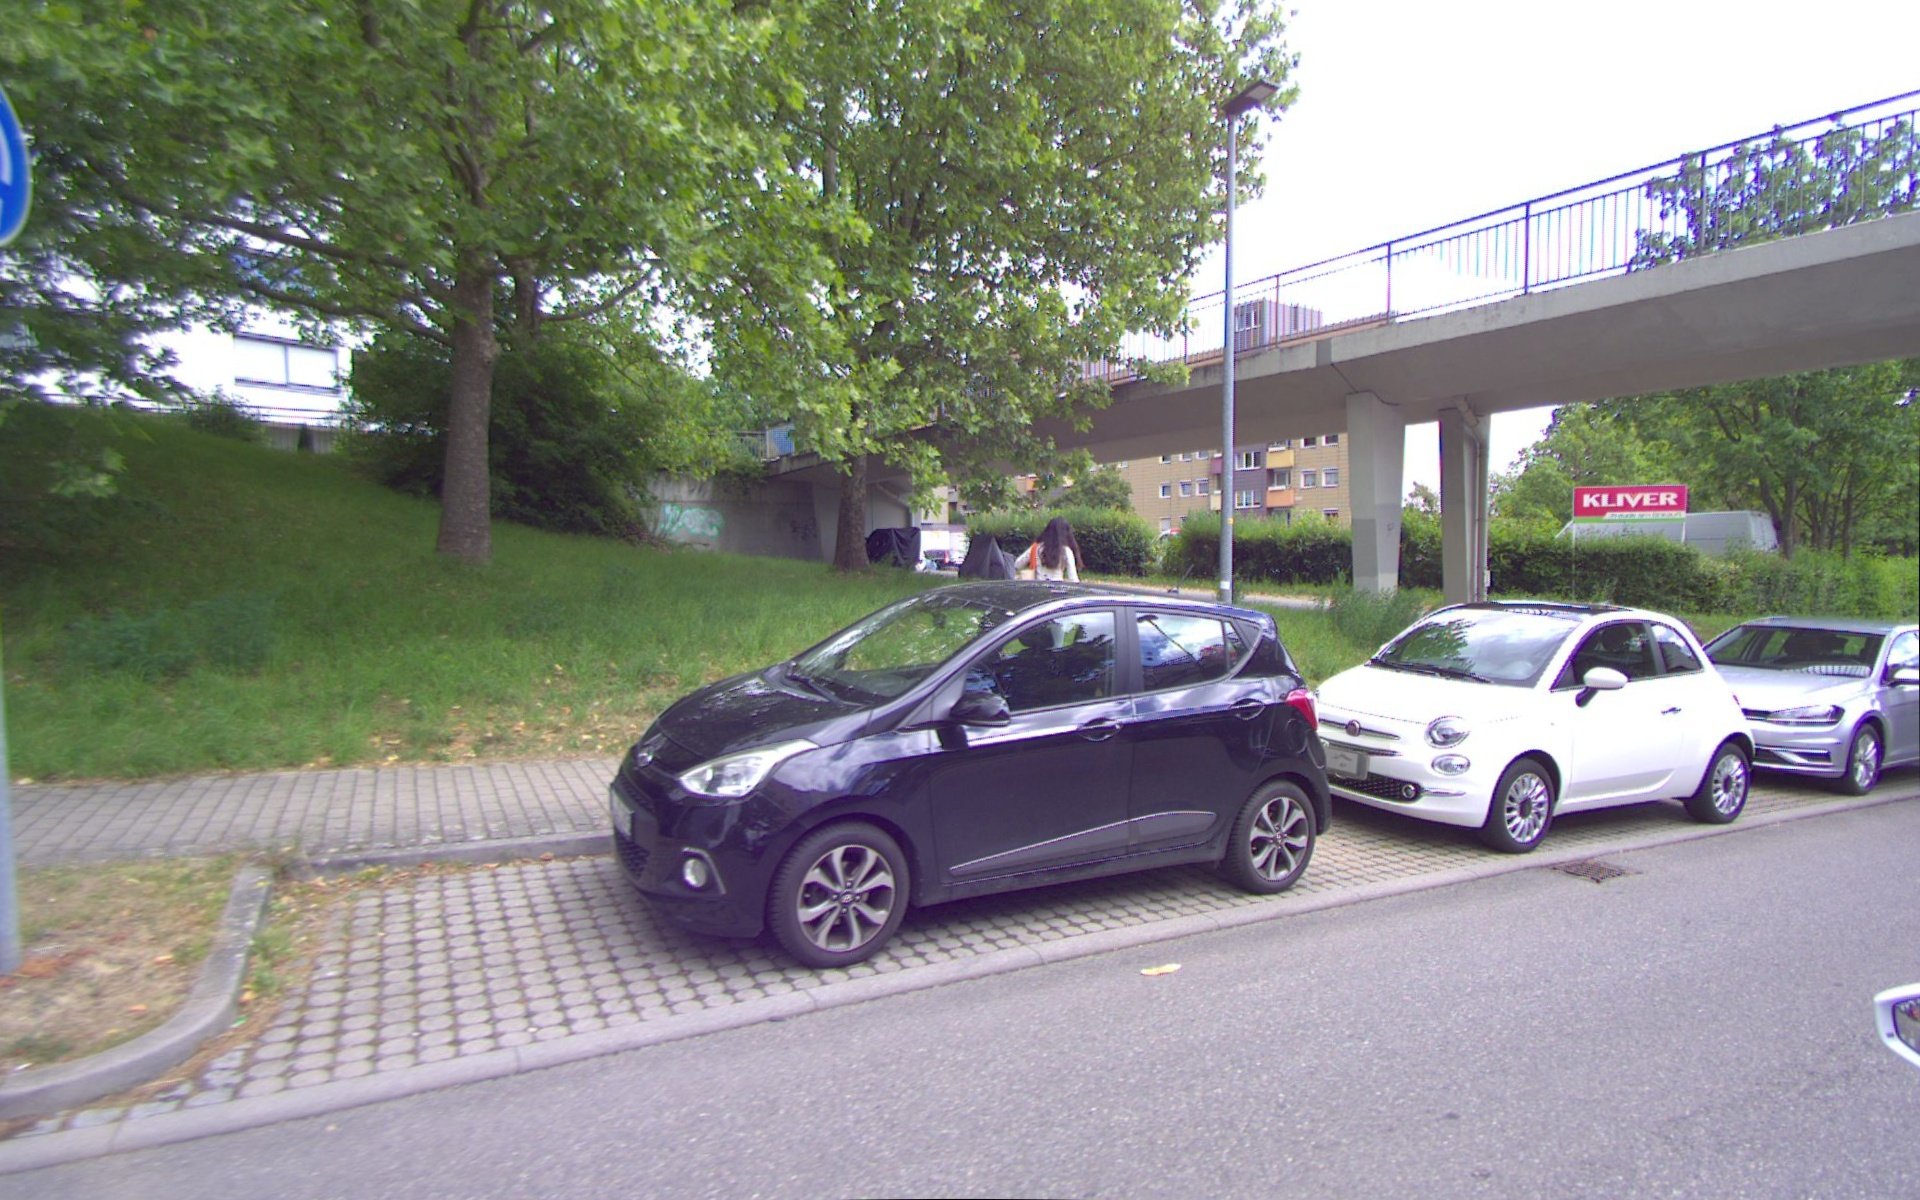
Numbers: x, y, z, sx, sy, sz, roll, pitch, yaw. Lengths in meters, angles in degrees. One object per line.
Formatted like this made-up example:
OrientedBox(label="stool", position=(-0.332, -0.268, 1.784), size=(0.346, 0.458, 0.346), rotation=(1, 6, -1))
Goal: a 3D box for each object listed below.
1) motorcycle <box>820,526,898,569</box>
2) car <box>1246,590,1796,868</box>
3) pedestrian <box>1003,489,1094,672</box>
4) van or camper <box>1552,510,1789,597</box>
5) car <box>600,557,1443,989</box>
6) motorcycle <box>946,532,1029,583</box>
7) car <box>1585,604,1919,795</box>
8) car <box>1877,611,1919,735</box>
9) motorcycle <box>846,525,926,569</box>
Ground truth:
OrientedBox(label="motorcycle", position=(-3.128, -1.622, 31.204), size=(2.292, 1.287, 0.878), rotation=(-1, 3, -34))
OrientedBox(label="car", position=(4.084, 0.757, 7.317), size=(3.503, 1.480, 1.876), rotation=(1, 3, -29))
OrientedBox(label="pedestrian", position=(0.890, -0.201, 10.042), size=(0.725, 1.745, 0.659), rotation=(1, 3, 22))
OrientedBox(label="van or camper", position=(19.061, -1.239, 27.200), size=(1.979, 2.114, 4.823), rotation=(-1, 3, -34))
OrientedBox(label="car", position=(0.329, 0.652, 5.200), size=(3.947, 1.488, 1.780), rotation=(2, 3, -26))
OrientedBox(label="motorcycle", position=(0.698, -1.111, 26.201), size=(2.010, 1.288, 0.884), rotation=(0, 2, -12))
OrientedBox(label="car", position=(8.200, 0.843, 9.788), size=(3.952, 1.446, 1.876), rotation=(1, 1, -29))
OrientedBox(label="car", position=(14.104, 0.961, 13.286), size=(4.405, 1.529, 1.873), rotation=(1, 2, -34))
OrientedBox(label="motorcycle", position=(-2.244, -1.588, 30.502), size=(2.292, 1.287, 0.878), rotation=(-1, 3, -34))
